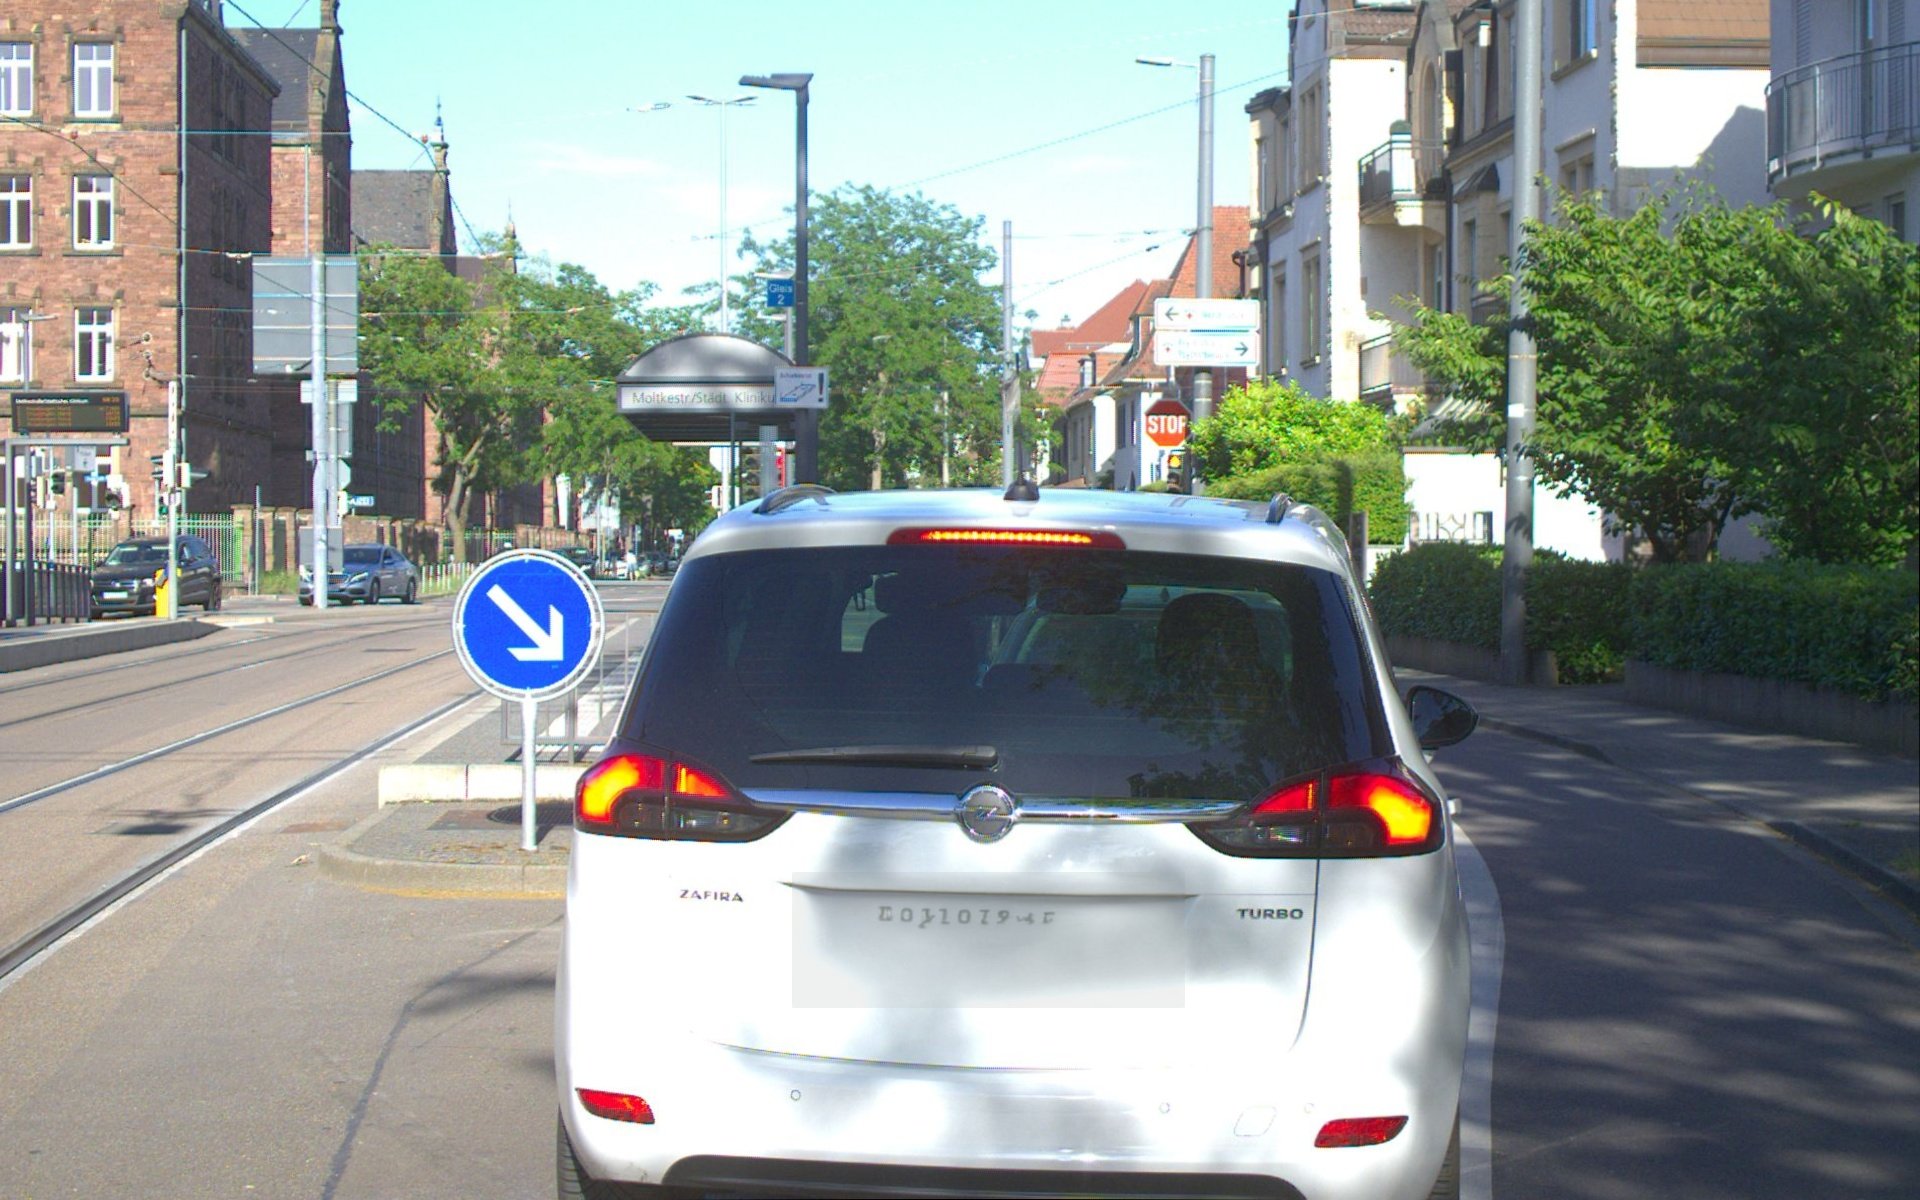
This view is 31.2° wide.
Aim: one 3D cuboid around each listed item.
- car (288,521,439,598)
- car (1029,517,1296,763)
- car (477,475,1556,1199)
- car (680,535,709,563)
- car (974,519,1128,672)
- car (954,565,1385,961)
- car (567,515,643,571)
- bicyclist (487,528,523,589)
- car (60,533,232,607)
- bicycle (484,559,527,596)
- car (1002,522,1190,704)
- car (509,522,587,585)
[{"bbox_3d":[-14.169,-0.948,81.936,1.828,1.782,4.324,1,0,16],"label":"car"},{"bbox_3d":[1.398,0.226,24.954,1.569,1.609,3.784,2,1,-2],"label":"car"},{"bbox_3d":[0.255,0.559,8.089,1.878,1.579,3.999,2,1,5],"label":"car"},{"bbox_3d":[-19.309,-3.714,249.941,1.993,2.007,4.001,1,1,-6],"label":"car"},{"bbox_3d":[1.026,-0.097,40.414,1.596,1.629,3.902,2,2,-1],"label":"car"},{"bbox_3d":[0.946,0.590,14.789,1.569,1.396,3.783,2,1,5],"label":"car"},{"bbox_3d":[-13.080,-2.078,126.770,1.994,2.007,3.999,1,1,6],"label":"car"},{"bbox_3d":[-12.700,-1.165,96.024,0.726,1.682,1.169,1,2,6],"label":"bicyclist"},{"bbox_3d":[-16.560,-0.596,70.124,1.828,1.441,4.325,1,0,10],"label":"car"},{"bbox_3d":[-12.703,-0.628,96.038,0.726,0.962,2.060,1,2,6],"label":"bicycle"},{"bbox_3d":[1.290,0.085,33.920,1.596,1.629,3.901,2,1,-1],"label":"car"},{"bbox_3d":[-13.439,-1.512,112.324,1.993,2.007,4.000,1,1,1],"label":"car"}]
